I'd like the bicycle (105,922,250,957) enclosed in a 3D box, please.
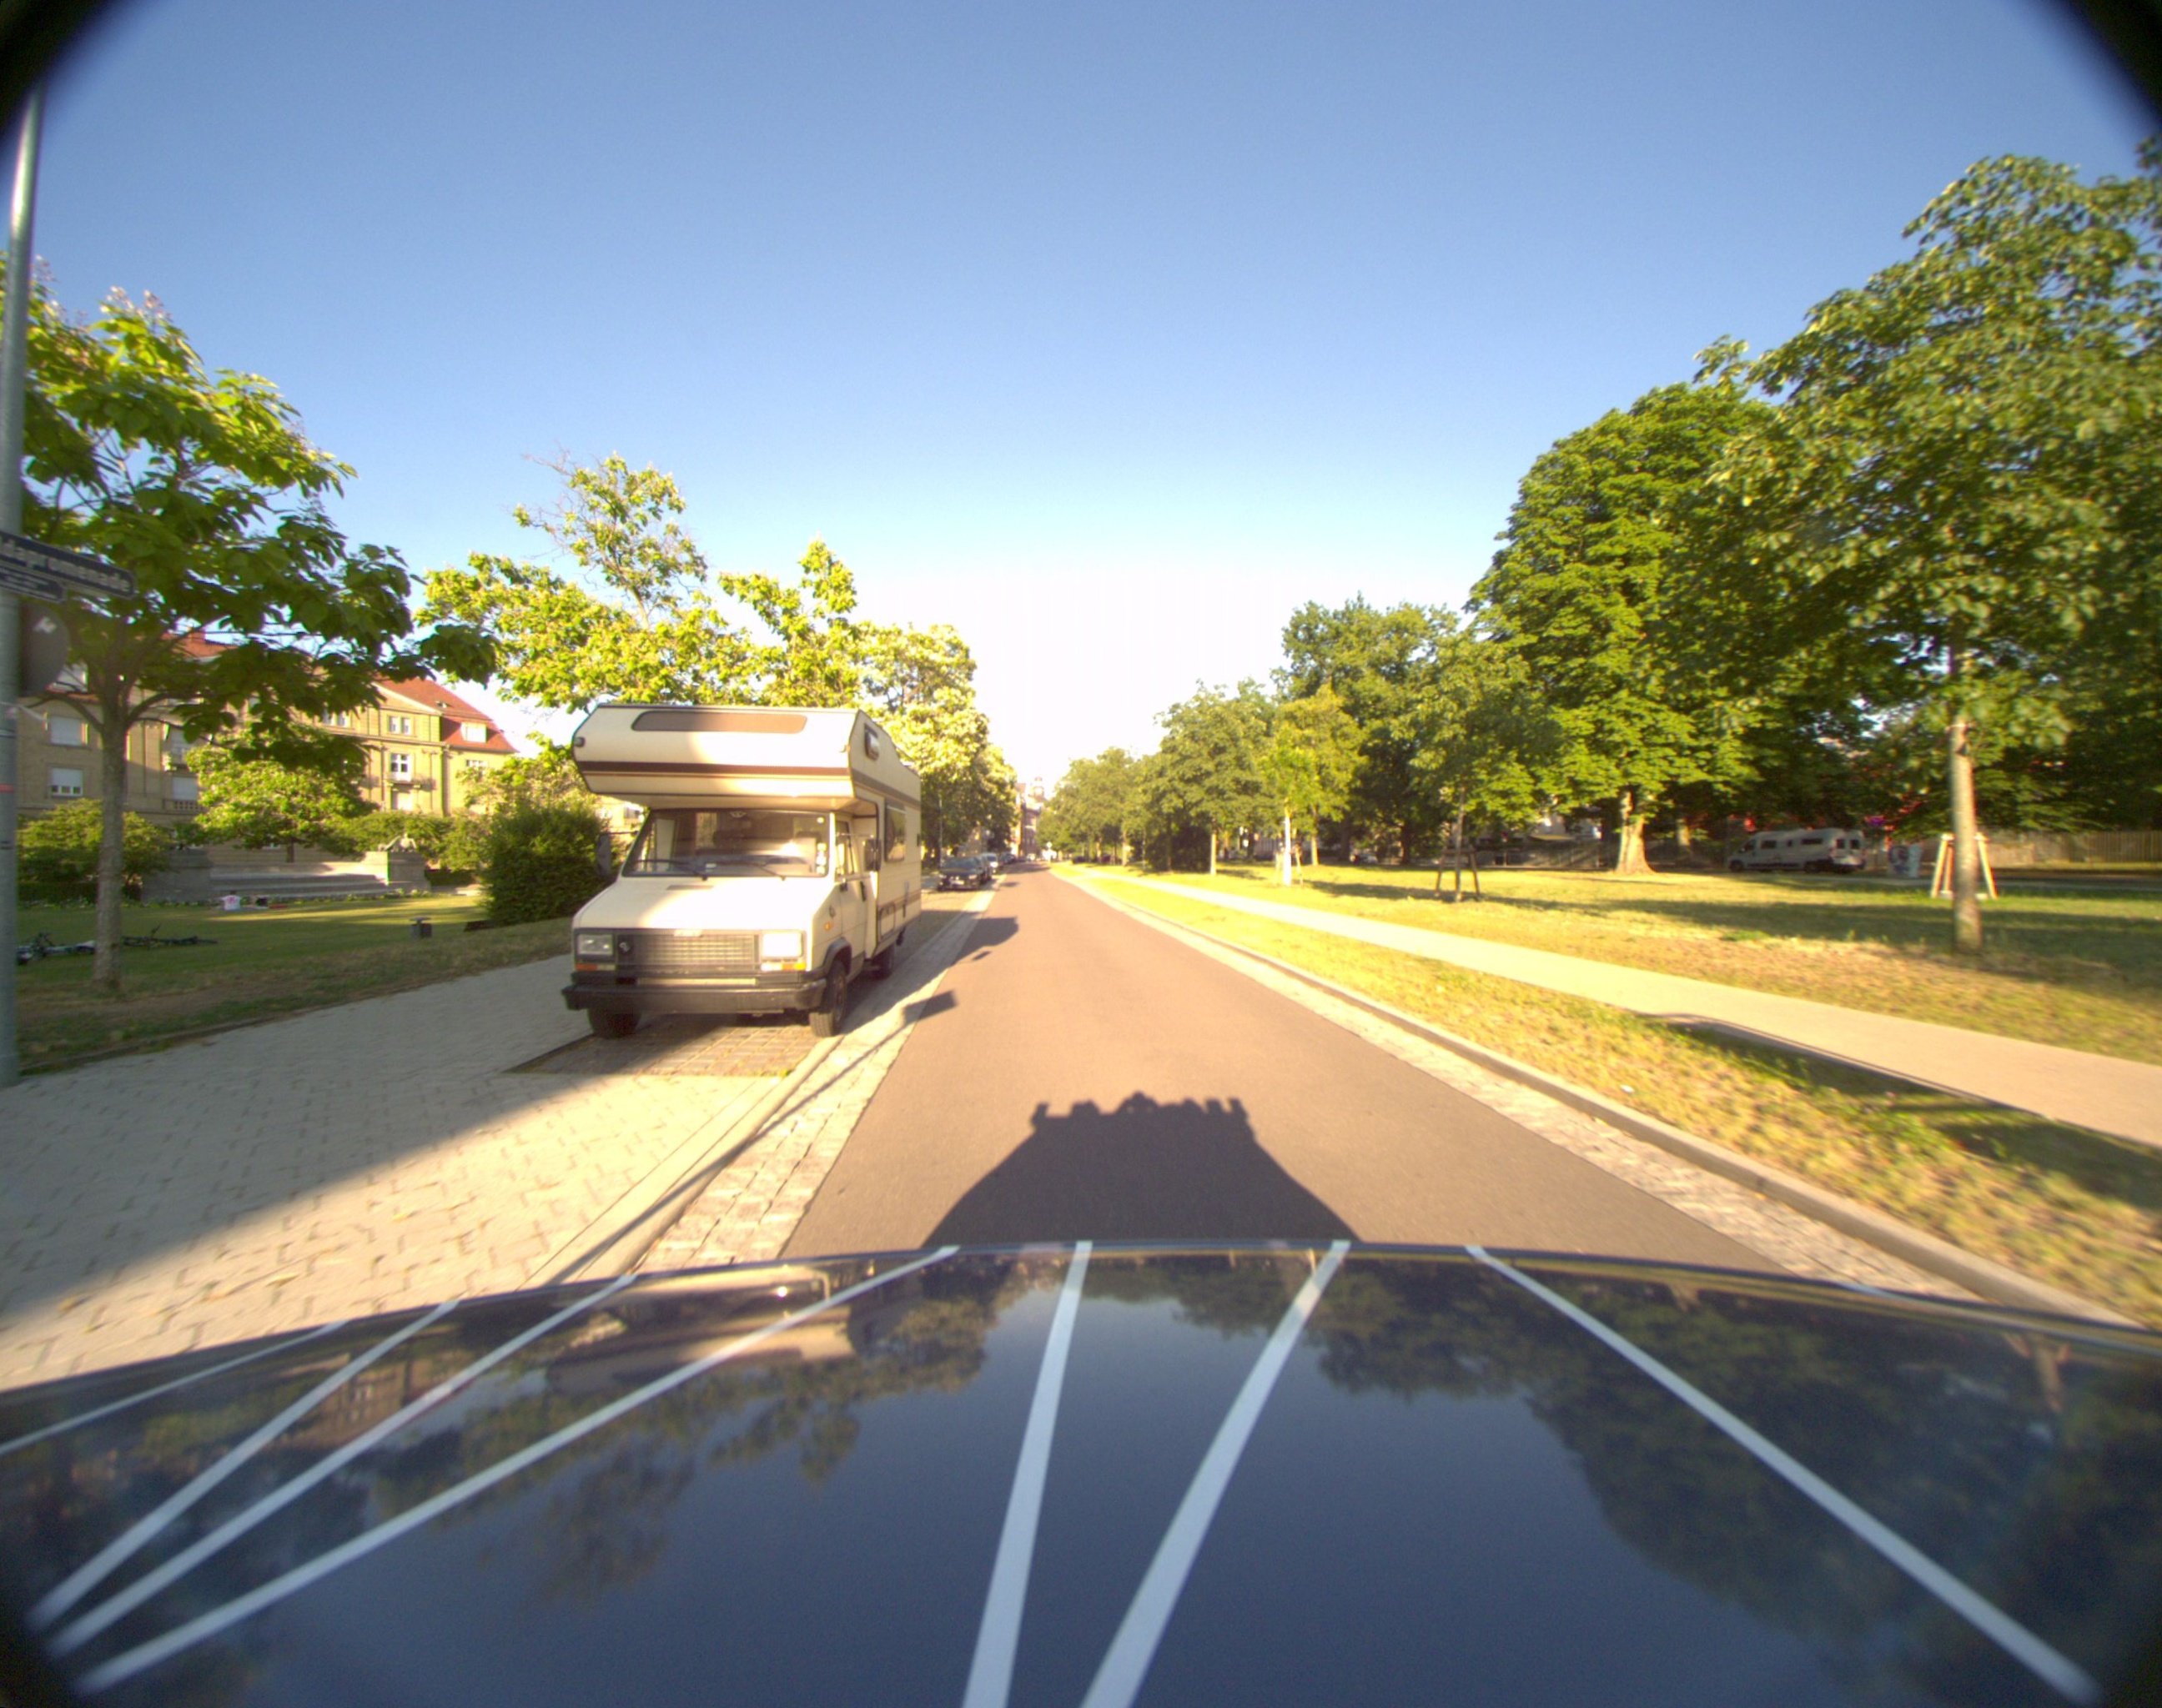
[{"bbox_3d":[-22.463,2.112,18.930,1.767,0.611,1.815,0,0,20],"label":"bicycle"}]

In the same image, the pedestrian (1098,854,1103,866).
[{"bbox_3d":[2.786,0.911,110.683,0.663,1.686,0.672,-1,0,-3],"label":"pedestrian"}]

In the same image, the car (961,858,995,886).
[{"bbox_3d":[-6.132,1.065,45.640,1.737,1.542,4.274,0,0,-3],"label":"car"}]

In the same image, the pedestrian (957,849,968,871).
[{"bbox_3d":[-9.253,0.475,59.416,0.755,1.726,0.731,-1,0,-4],"label":"pedestrian"}]

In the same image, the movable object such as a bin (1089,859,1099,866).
[{"bbox_3d":[1.853,1.263,110.690,1.333,0.984,0.949,0,1,-6],"label":"movable object such as a bin"}]

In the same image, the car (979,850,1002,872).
[{"bbox_3d":[-7.259,0.525,61.004,1.683,1.730,4.511,0,0,-5],"label":"car"}]

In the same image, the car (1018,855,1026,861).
[{"bbox_3d":[-13.455,0.828,173.670,1.611,1.349,3.548,0,0,2],"label":"car"}]

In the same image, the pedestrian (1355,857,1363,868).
[{"bbox_3d":[24.077,0.749,65.827,0.549,0.981,0.610,0,1,6],"label":"pedestrian"}]

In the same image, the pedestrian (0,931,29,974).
[{"bbox_3d":[-21.498,1.955,15.039,0.474,0.808,0.611,-1,0,-3],"label":"pedestrian"}]

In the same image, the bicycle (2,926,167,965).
[{"bbox_3d":[-22.550,2.052,17.241,1.767,0.611,1.815,0,0,20],"label":"bicycle"}]

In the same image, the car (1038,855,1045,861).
[{"bbox_3d":[-11.053,1.051,211.238,1.583,1.499,3.847,0,0,2],"label":"car"}]

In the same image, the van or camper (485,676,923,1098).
[{"bbox_3d":[-3.177,0.186,8.121,2.241,2.888,5.669,0,1,-5],"label":"van or camper"}]

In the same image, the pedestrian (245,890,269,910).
[{"bbox_3d":[-34.933,1.928,32.208,0.585,0.789,0.669,1,1,43],"label":"pedestrian"}]

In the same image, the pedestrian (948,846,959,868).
[{"bbox_3d":[-10.195,0.243,60.772,0.727,1.726,0.731,-1,0,-4],"label":"pedestrian"}]

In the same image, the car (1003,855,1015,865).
[{"bbox_3d":[-12.124,1.076,128.095,1.708,1.616,4.347,2,-1,-4],"label":"car"}]

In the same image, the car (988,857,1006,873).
[{"bbox_3d":[-8.297,1.072,75.238,1.683,1.477,4.807,0,0,-5],"label":"car"}]

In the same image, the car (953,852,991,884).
[{"bbox_3d":[-5.611,0.682,39.406,1.737,1.542,4.420,0,0,-6],"label":"car"}]

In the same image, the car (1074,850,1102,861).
[{"bbox_3d":[1.145,0.217,118.674,4.006,1.565,1.886,-1,2,-29],"label":"car"}]

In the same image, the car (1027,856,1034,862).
[{"bbox_3d":[-12.567,1.148,189.561,1.510,1.437,3.730,0,0,2],"label":"car"}]

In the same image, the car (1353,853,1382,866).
[{"bbox_3d":[35.940,0.690,95.285,1.999,1.608,3.736,-1,0,-4],"label":"car"}]

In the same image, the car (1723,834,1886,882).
[{"bbox_3d":[40.228,0.197,42.573,2.729,2.449,6.314,0,0,-6],"label":"car"}]

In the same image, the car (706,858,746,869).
[{"bbox_3d":[-45.932,1.240,98.292,4.379,1.409,1.814,0,1,-34],"label":"car"}]

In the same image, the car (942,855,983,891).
[{"bbox_3d":[-5.082,0.774,32.847,1.632,1.455,4.246,0,0,-8],"label":"car"}]

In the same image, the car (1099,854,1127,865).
[{"bbox_3d":[5.105,0.833,121.020,4.006,1.565,1.886,-1,2,-29],"label":"car"}]
